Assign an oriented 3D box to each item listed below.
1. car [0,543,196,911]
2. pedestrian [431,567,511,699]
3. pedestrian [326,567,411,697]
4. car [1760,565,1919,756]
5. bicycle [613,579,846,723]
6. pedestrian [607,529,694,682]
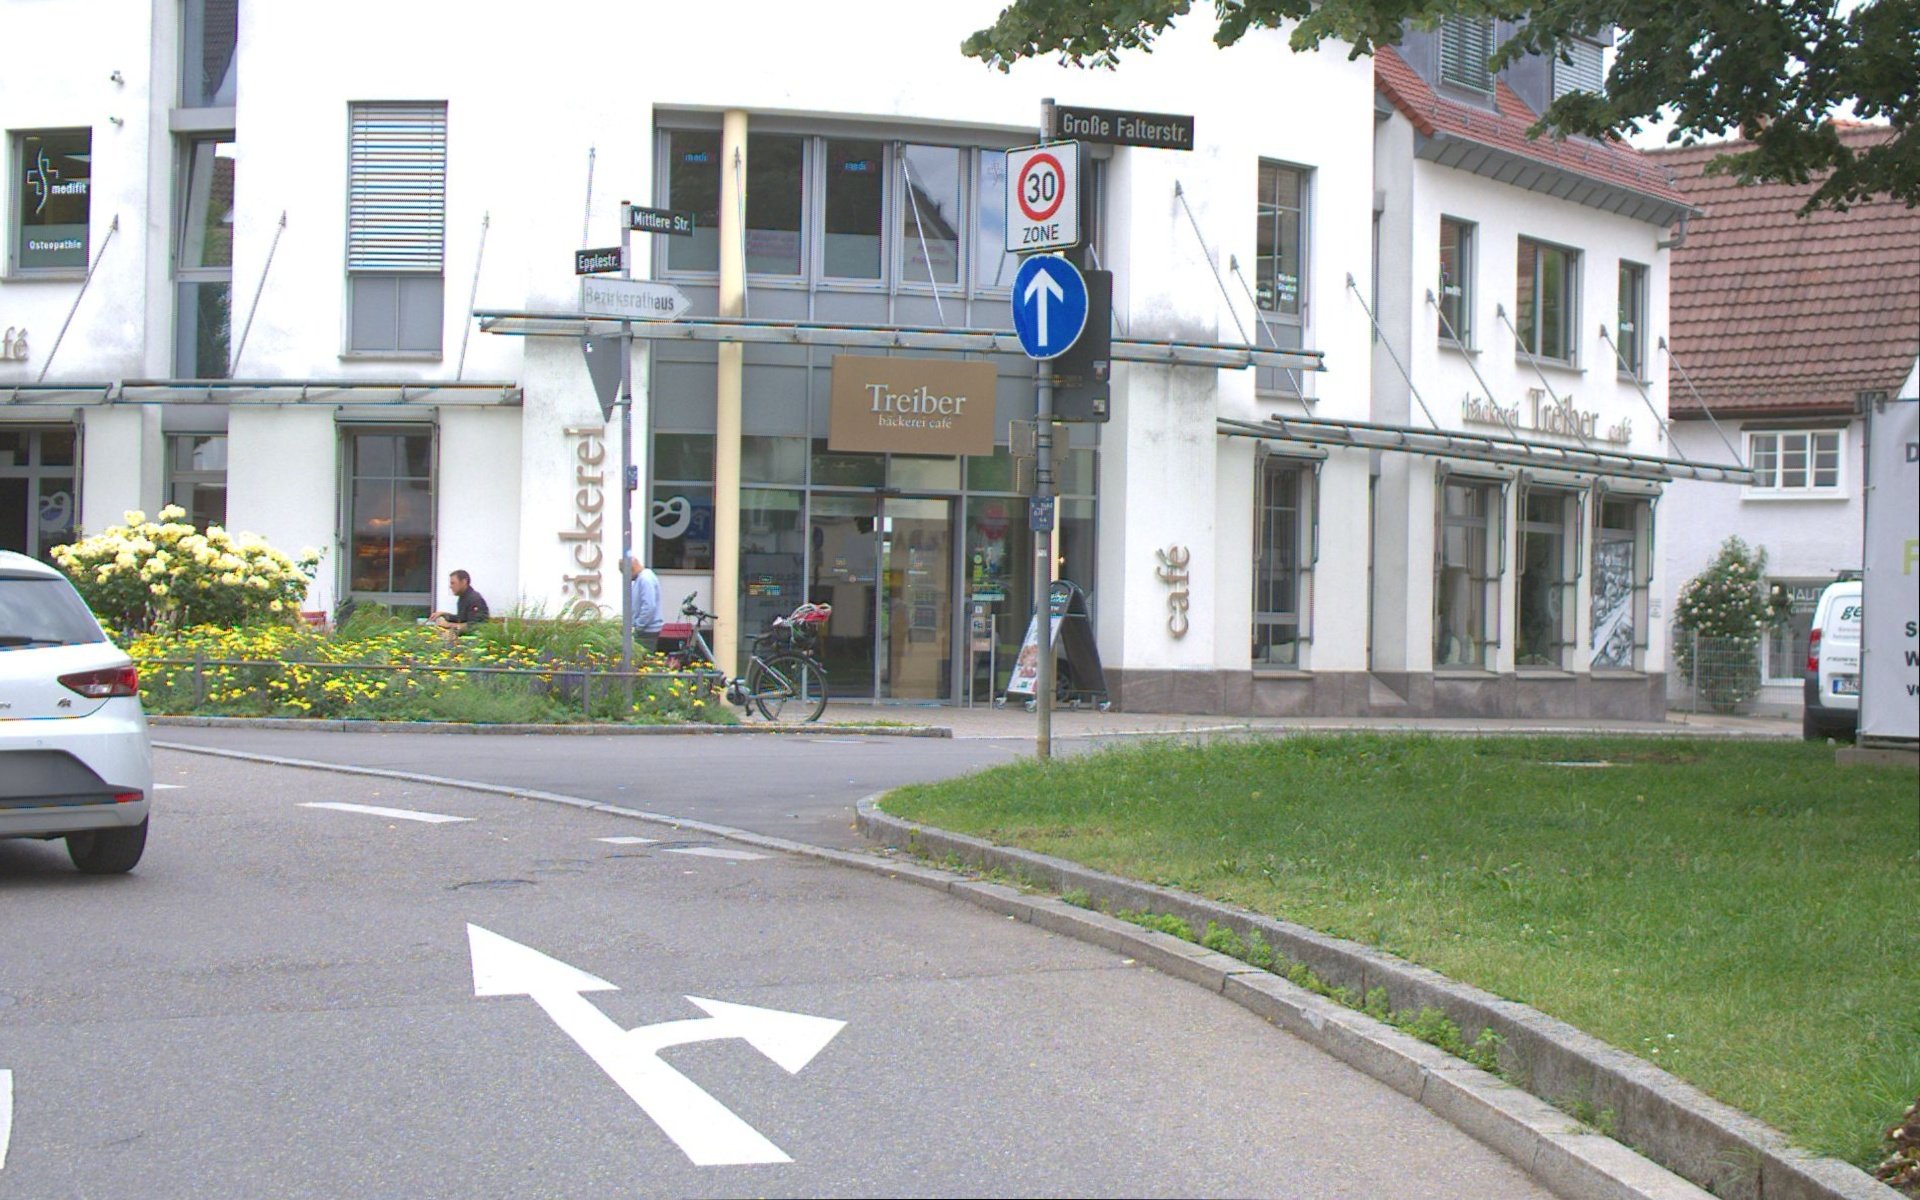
[{"bbox_3d":[-5.011,0.470,15.646,1.843,1.429,4.001,1,2,-30],"label":"car"},{"bbox_3d":[-5.066,0.336,35.671,0.655,1.337,0.696,1,0,5],"label":"pedestrian"},{"bbox_3d":[-6.167,0.324,35.873,0.700,1.327,0.684,1,0,5],"label":"pedestrian"},{"bbox_3d":[9.467,0.620,35.204,1.828,1.786,4.213,2,0,22],"label":"car"},{"bbox_3d":[-2.119,0.456,31.637,1.975,1.235,0.743,2,1,18],"label":"bicycle"},{"bbox_3d":[-3.130,0.049,34.803,0.700,1.520,0.867,1,0,5],"label":"pedestrian"}]
